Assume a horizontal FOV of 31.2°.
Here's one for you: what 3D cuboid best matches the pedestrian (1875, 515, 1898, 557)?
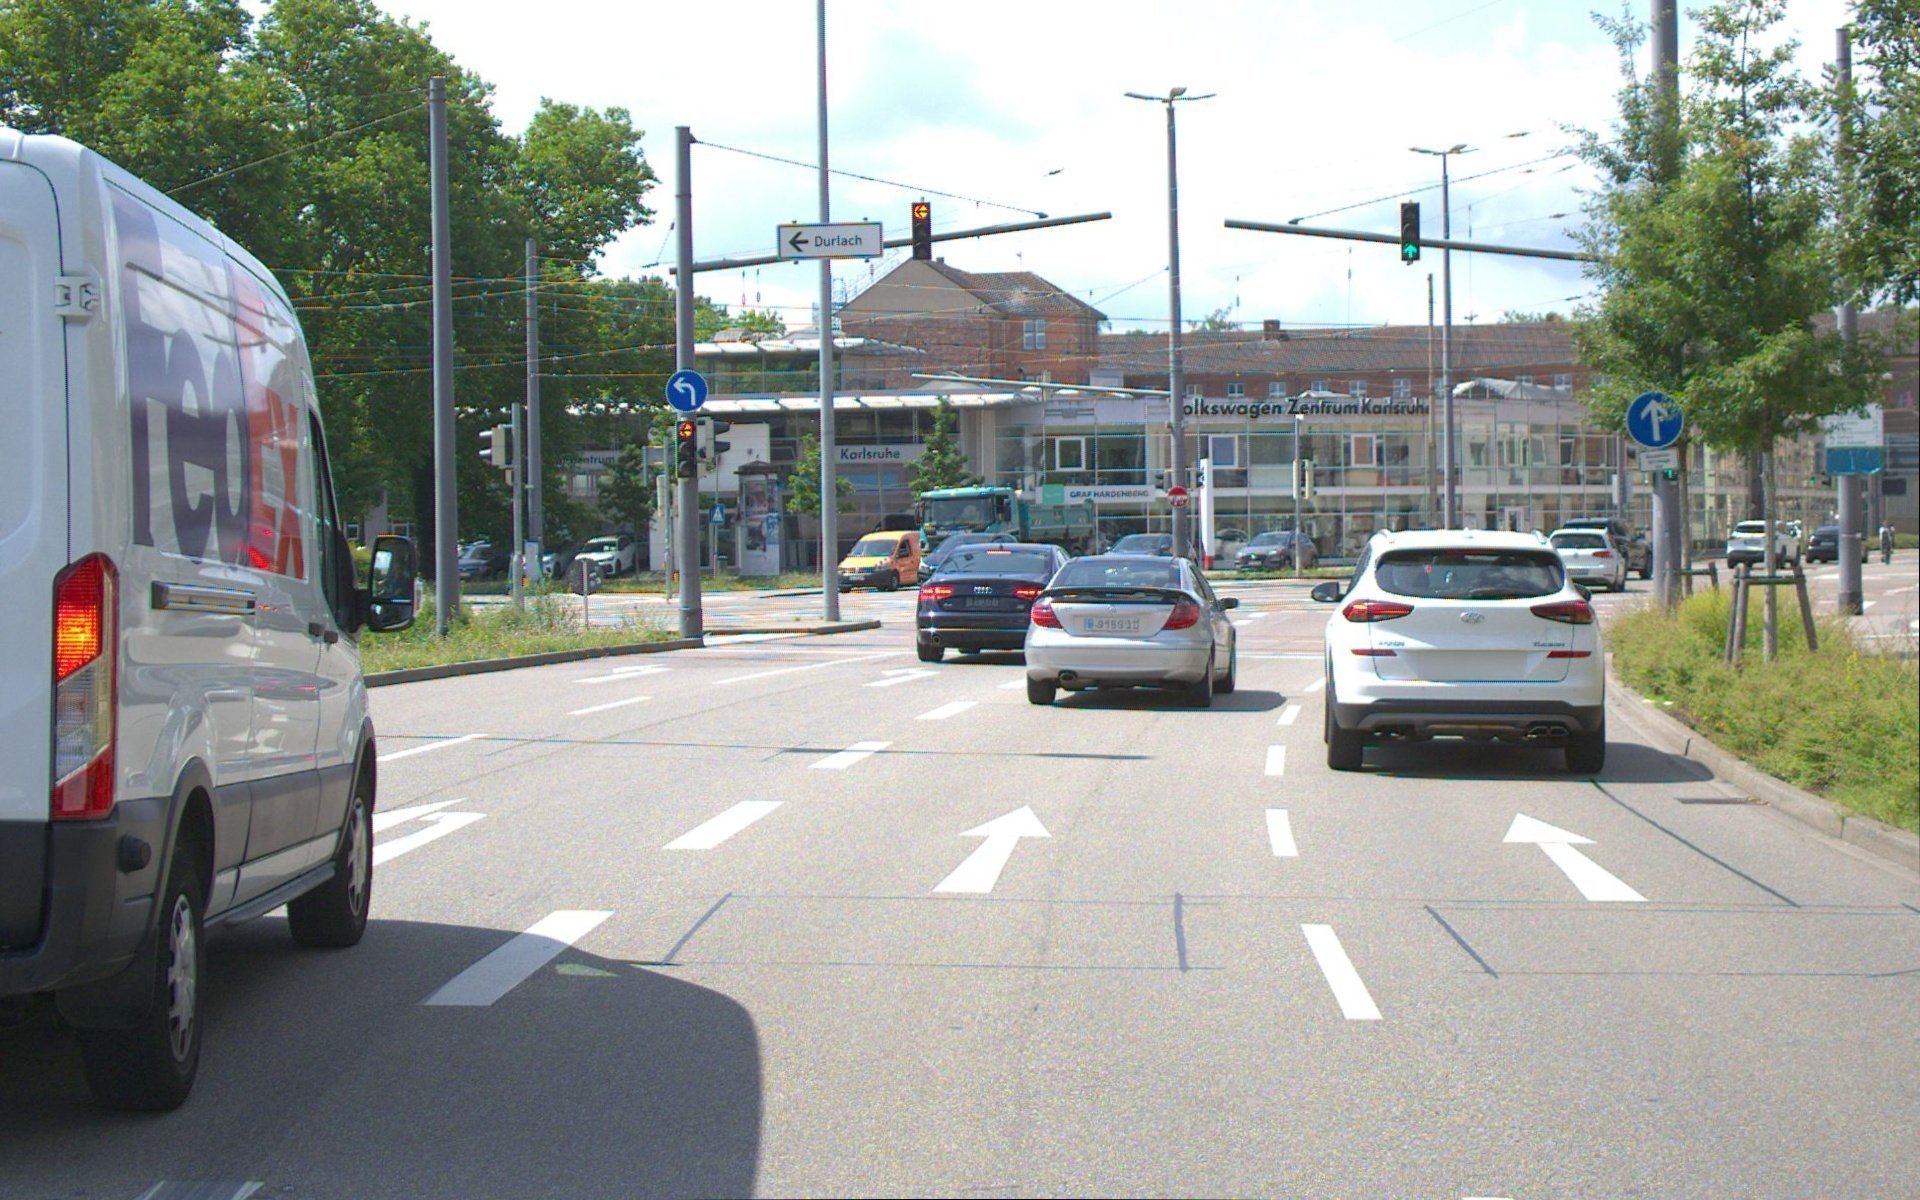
[{"bbox_3d":[32.464,-2.248,120.484,0.693,1.452,0.679,0,0,24],"label":"pedestrian"}]

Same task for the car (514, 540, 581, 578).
[{"bbox_3d":[-17.611,-1.756,146.983,1.994,1.568,4.177,1,0,6],"label":"car"}]

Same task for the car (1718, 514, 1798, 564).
[{"bbox_3d":[26.649,-2.039,114.757,1.883,1.635,3.952,0,1,24],"label":"car"}]

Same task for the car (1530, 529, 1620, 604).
[{"bbox_3d":[13.991,-0.773,78.094,1.882,1.635,3.955,0,1,12],"label":"car"}]

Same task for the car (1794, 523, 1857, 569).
[{"bbox_3d":[31.930,-2.000,126.822,1.883,1.635,3.953,0,1,19],"label":"car"}]

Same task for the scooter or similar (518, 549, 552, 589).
[{"bbox_3d":[-11.952,-0.882,96.716,0.378,1.112,1.093,0,0,28],"label":"scooter or similar"}]

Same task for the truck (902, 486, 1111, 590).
[{"bbox_3d":[1.450,-1.815,99.383,2.889,2.842,8.782,0,1,23],"label":"truck"}]

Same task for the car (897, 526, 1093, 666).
[{"bbox_3d":[0.502,-0.091,43.034,1.928,1.635,4.791,0,1,7],"label":"car"}]

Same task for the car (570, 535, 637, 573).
[{"bbox_3d":[-15.155,-1.941,146.407,1.994,1.568,4.177,1,0,6],"label":"car"}]

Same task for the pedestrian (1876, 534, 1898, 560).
[{"bbox_3d":[32.467,-1.852,120.460,0.525,0.903,1.559,0,0,23],"label":"pedestrian"}]

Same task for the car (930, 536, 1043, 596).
[{"bbox_3d":[0.710,-0.887,88.012,1.655,1.464,4.150,0,1,19],"label":"car"}]

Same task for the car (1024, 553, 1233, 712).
[{"bbox_3d":[1.669,0.264,32.873,1.742,1.387,4.179,0,1,6],"label":"car"}]

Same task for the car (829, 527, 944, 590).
[{"bbox_3d":[-2.181,-1.262,103.639,1.720,1.794,4.735,-1,1,21],"label":"car"}]

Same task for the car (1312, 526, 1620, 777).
[{"bbox_3d":[3.535,0.295,24.689,1.881,1.635,4.232,0,1,4],"label":"car"}]

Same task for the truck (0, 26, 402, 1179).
[{"bbox_3d":[-3.119,-0.026,10.749,2.136,2.631,5.918,0,0,-4],"label":"truck"}]

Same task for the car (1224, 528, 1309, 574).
[{"bbox_3d":[10.619,-1.697,118.803,1.720,1.526,4.116,0,1,23],"label":"car"}]

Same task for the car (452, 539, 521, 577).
[{"bbox_3d":[-20.260,-1.781,147.296,1.994,1.568,4.177,1,0,6],"label":"car"}]
